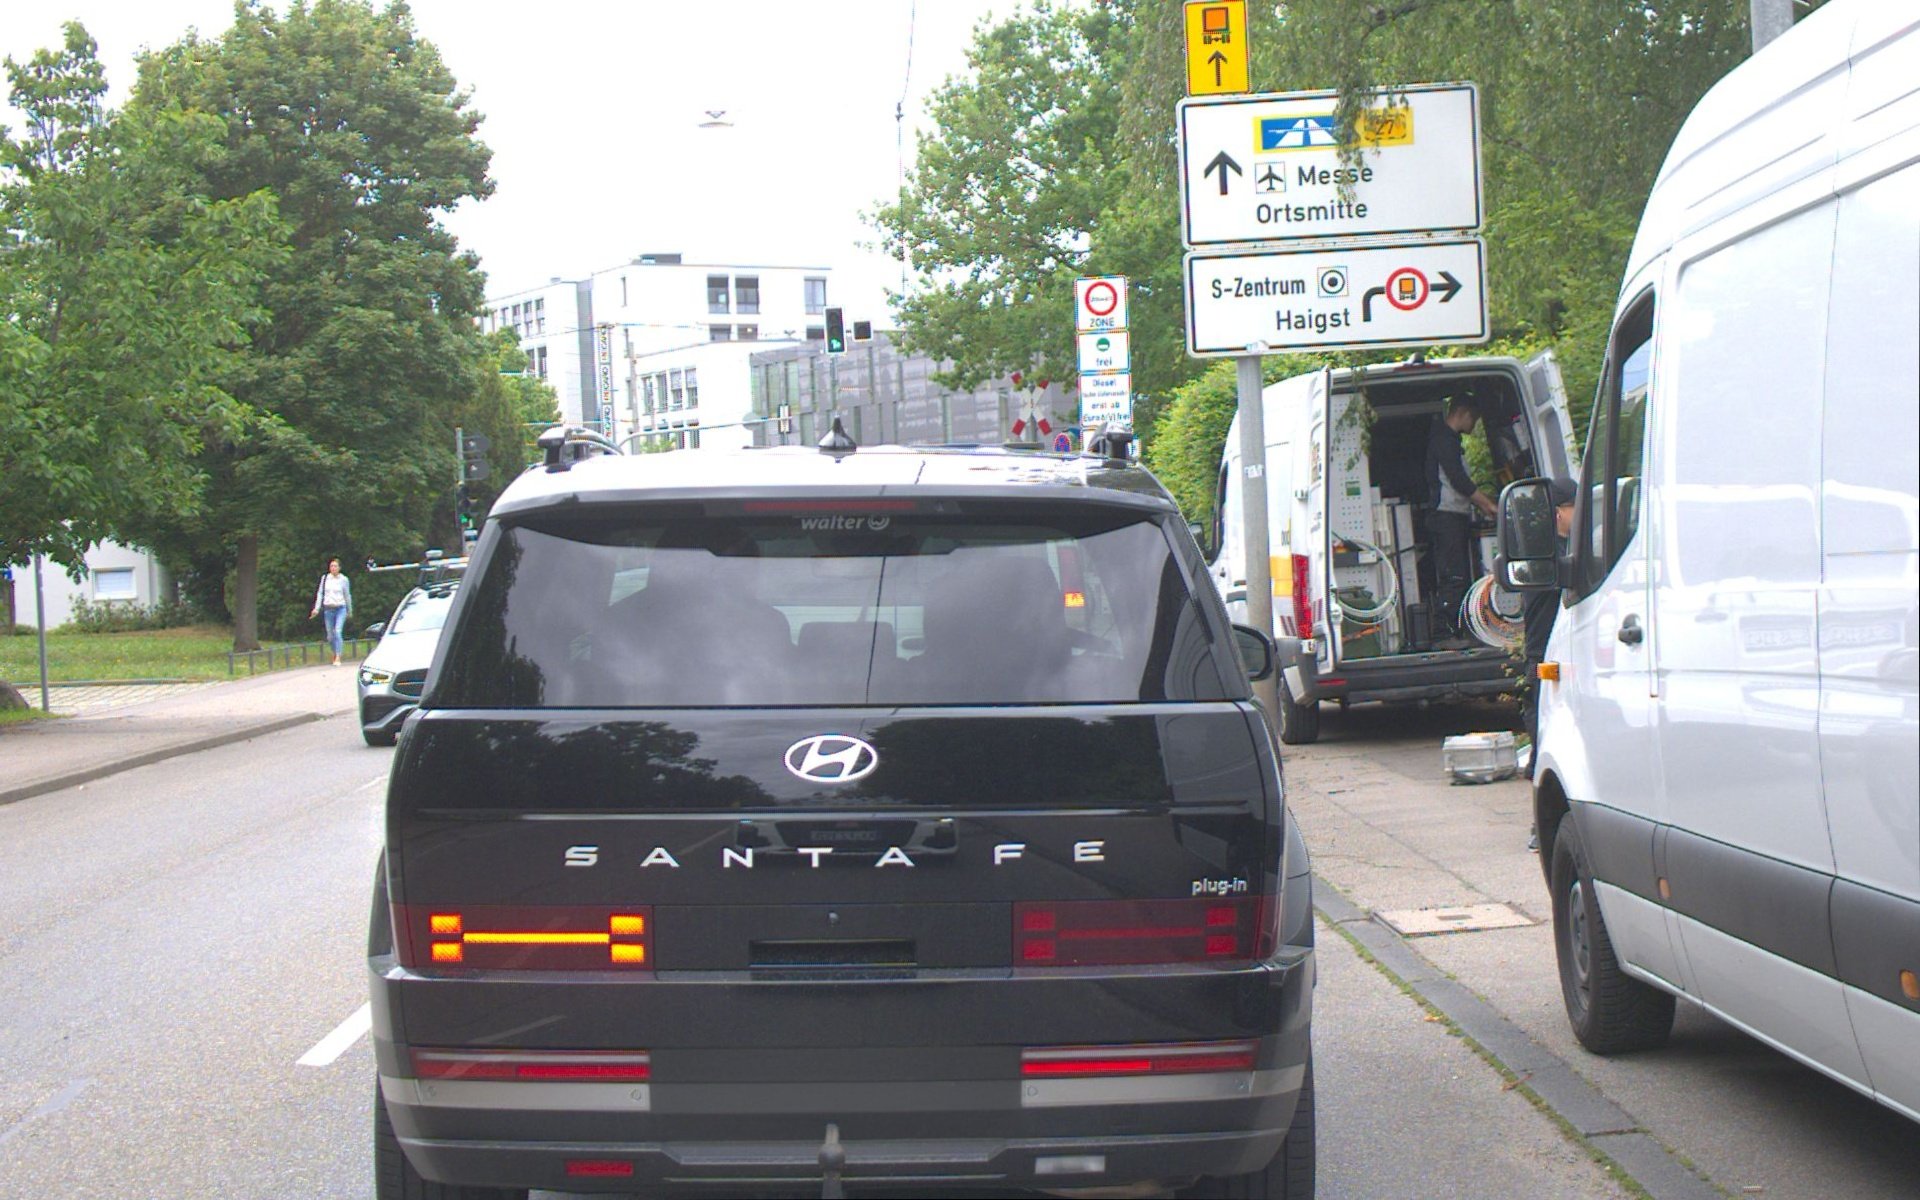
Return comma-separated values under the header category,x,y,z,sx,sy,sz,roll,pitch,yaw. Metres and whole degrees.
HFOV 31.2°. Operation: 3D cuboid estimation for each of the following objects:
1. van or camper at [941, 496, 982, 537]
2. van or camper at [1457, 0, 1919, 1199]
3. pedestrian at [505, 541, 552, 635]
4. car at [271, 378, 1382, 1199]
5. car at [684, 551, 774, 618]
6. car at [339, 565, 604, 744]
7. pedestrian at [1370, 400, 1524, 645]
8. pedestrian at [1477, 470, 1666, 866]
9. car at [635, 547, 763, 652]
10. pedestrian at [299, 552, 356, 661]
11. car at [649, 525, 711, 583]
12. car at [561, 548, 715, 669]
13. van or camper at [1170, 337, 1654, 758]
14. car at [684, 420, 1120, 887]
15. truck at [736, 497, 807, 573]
category,x,y,z,sx,sy,sz,roll,pitch,yaw
van or camper,0.060,-4.183,172.467,1.795,1.992,3.824,1,1,-4
van or camper,2.612,0.000,6.961,1.991,2.616,6.544,-5,1,-1
pedestrian,-9.322,-0.263,74.248,0.830,2.007,1.047,1,0,2
car,-0.255,0.497,7.932,1.897,1.770,3.994,1,1,-1
car,-5.558,-0.389,83.087,1.814,1.414,4.829,-5,1,-1
car,-4.389,0.441,31.480,1.756,1.398,4.414,-4,1,-1
pedestrian,3.392,-0.537,23.926,0.799,1.638,0.738,-3,0,25
pedestrian,2.750,0.291,15.422,0.789,1.715,0.752,1,0,12
car,-4.544,-0.029,60.280,1.880,1.639,4.128,-4,1,-1
pedestrian,-10.263,0.101,55.768,0.767,1.742,0.904,-1,0,-2
car,-11.771,-1.910,144.196,2.332,2.307,4.959,-2,1,-6
car,-4.380,0.094,47.291,1.701,1.478,4.000,-4,1,-1
van or camper,3.091,-0.333,25.256,2.340,2.486,6.603,-5,0,-1
car,-0.278,0.218,17.201,1.897,2.035,3.994,1,1,-1
truck,-10.157,-3.447,184.597,3.107,3.846,9.623,-2,1,-6
